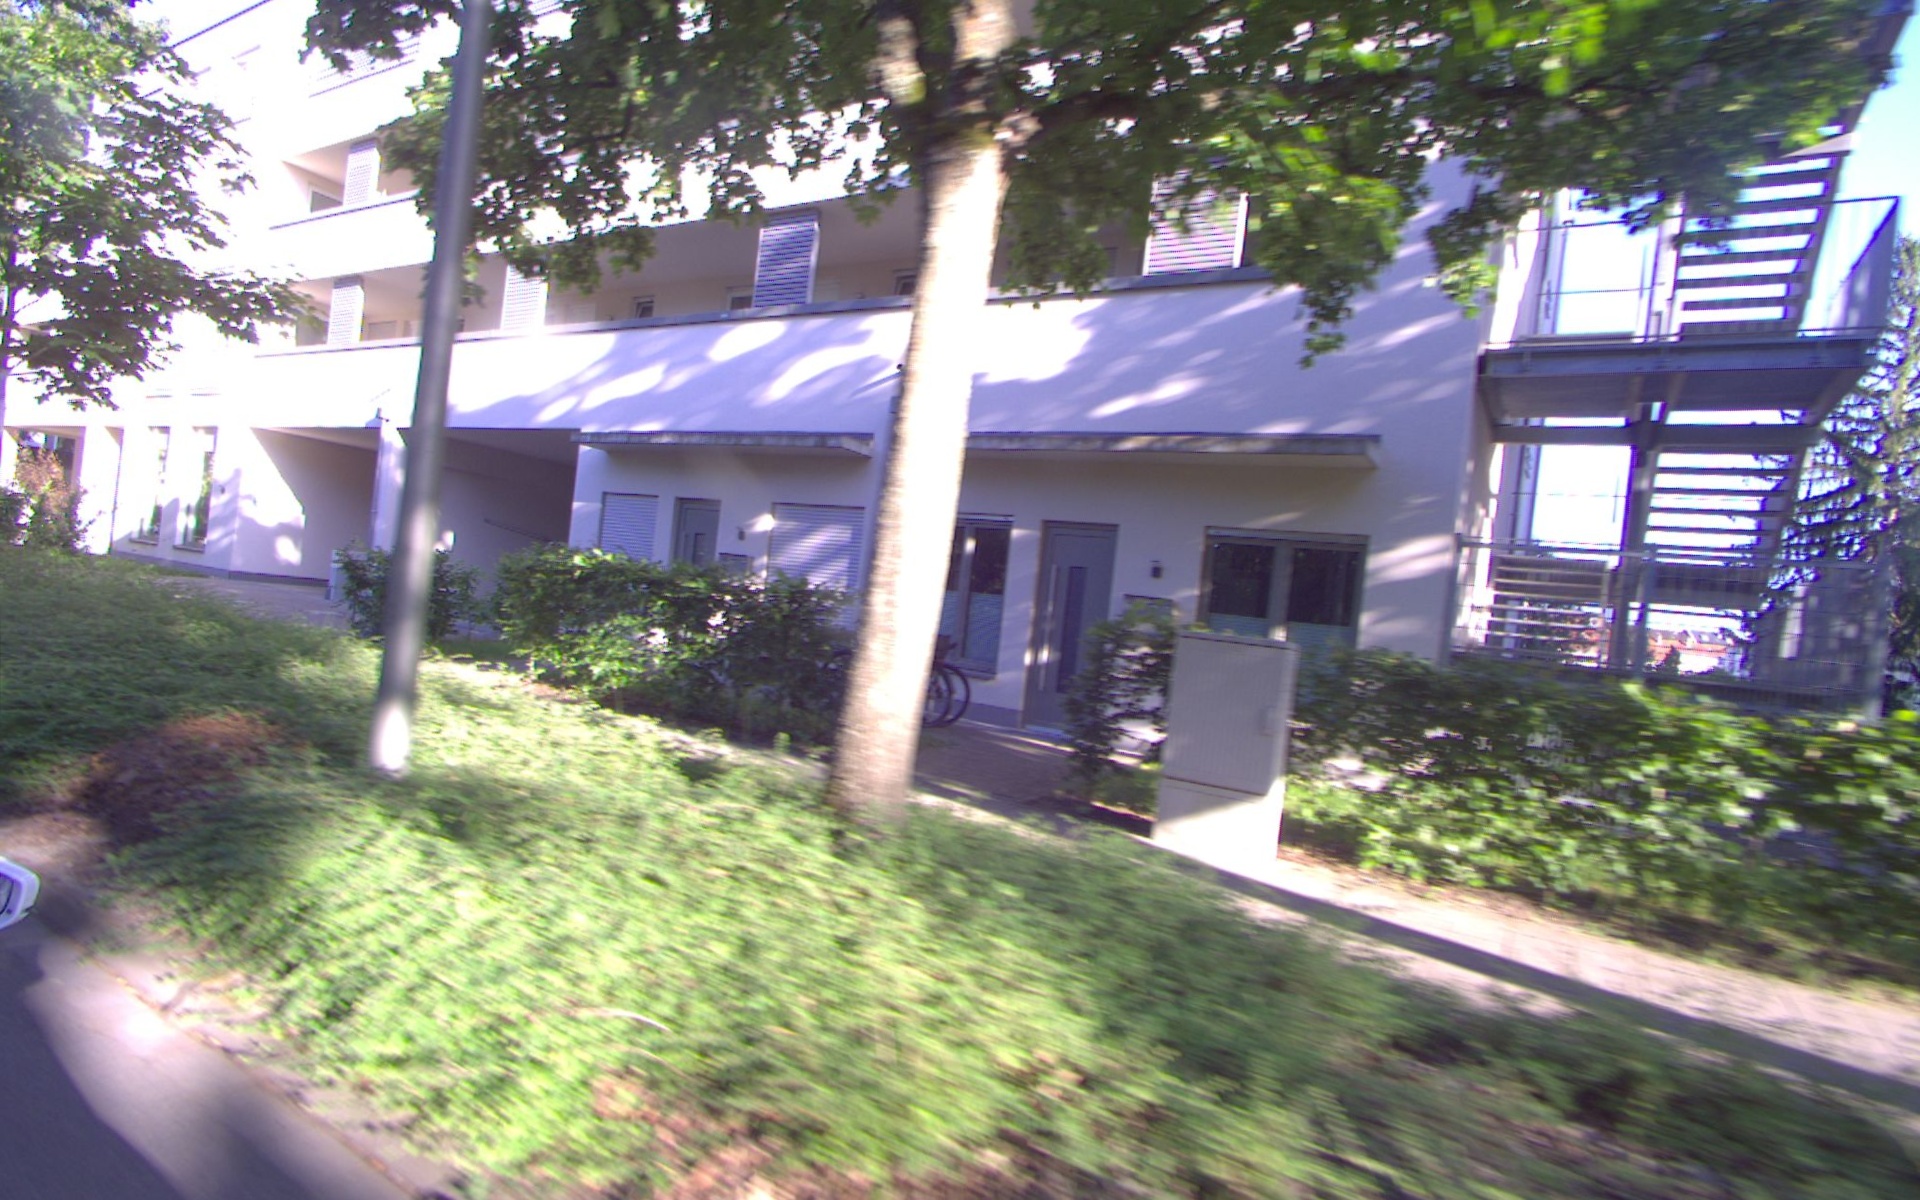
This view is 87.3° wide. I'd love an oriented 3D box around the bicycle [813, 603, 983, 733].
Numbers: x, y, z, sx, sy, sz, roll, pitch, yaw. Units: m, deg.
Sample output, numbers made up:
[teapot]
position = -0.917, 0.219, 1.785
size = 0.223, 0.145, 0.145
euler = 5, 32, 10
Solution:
[bicycle]
position = -0.711, 0.741, 11.215
size = 1.724, 1.205, 0.619
euler = 6, -1, 32
